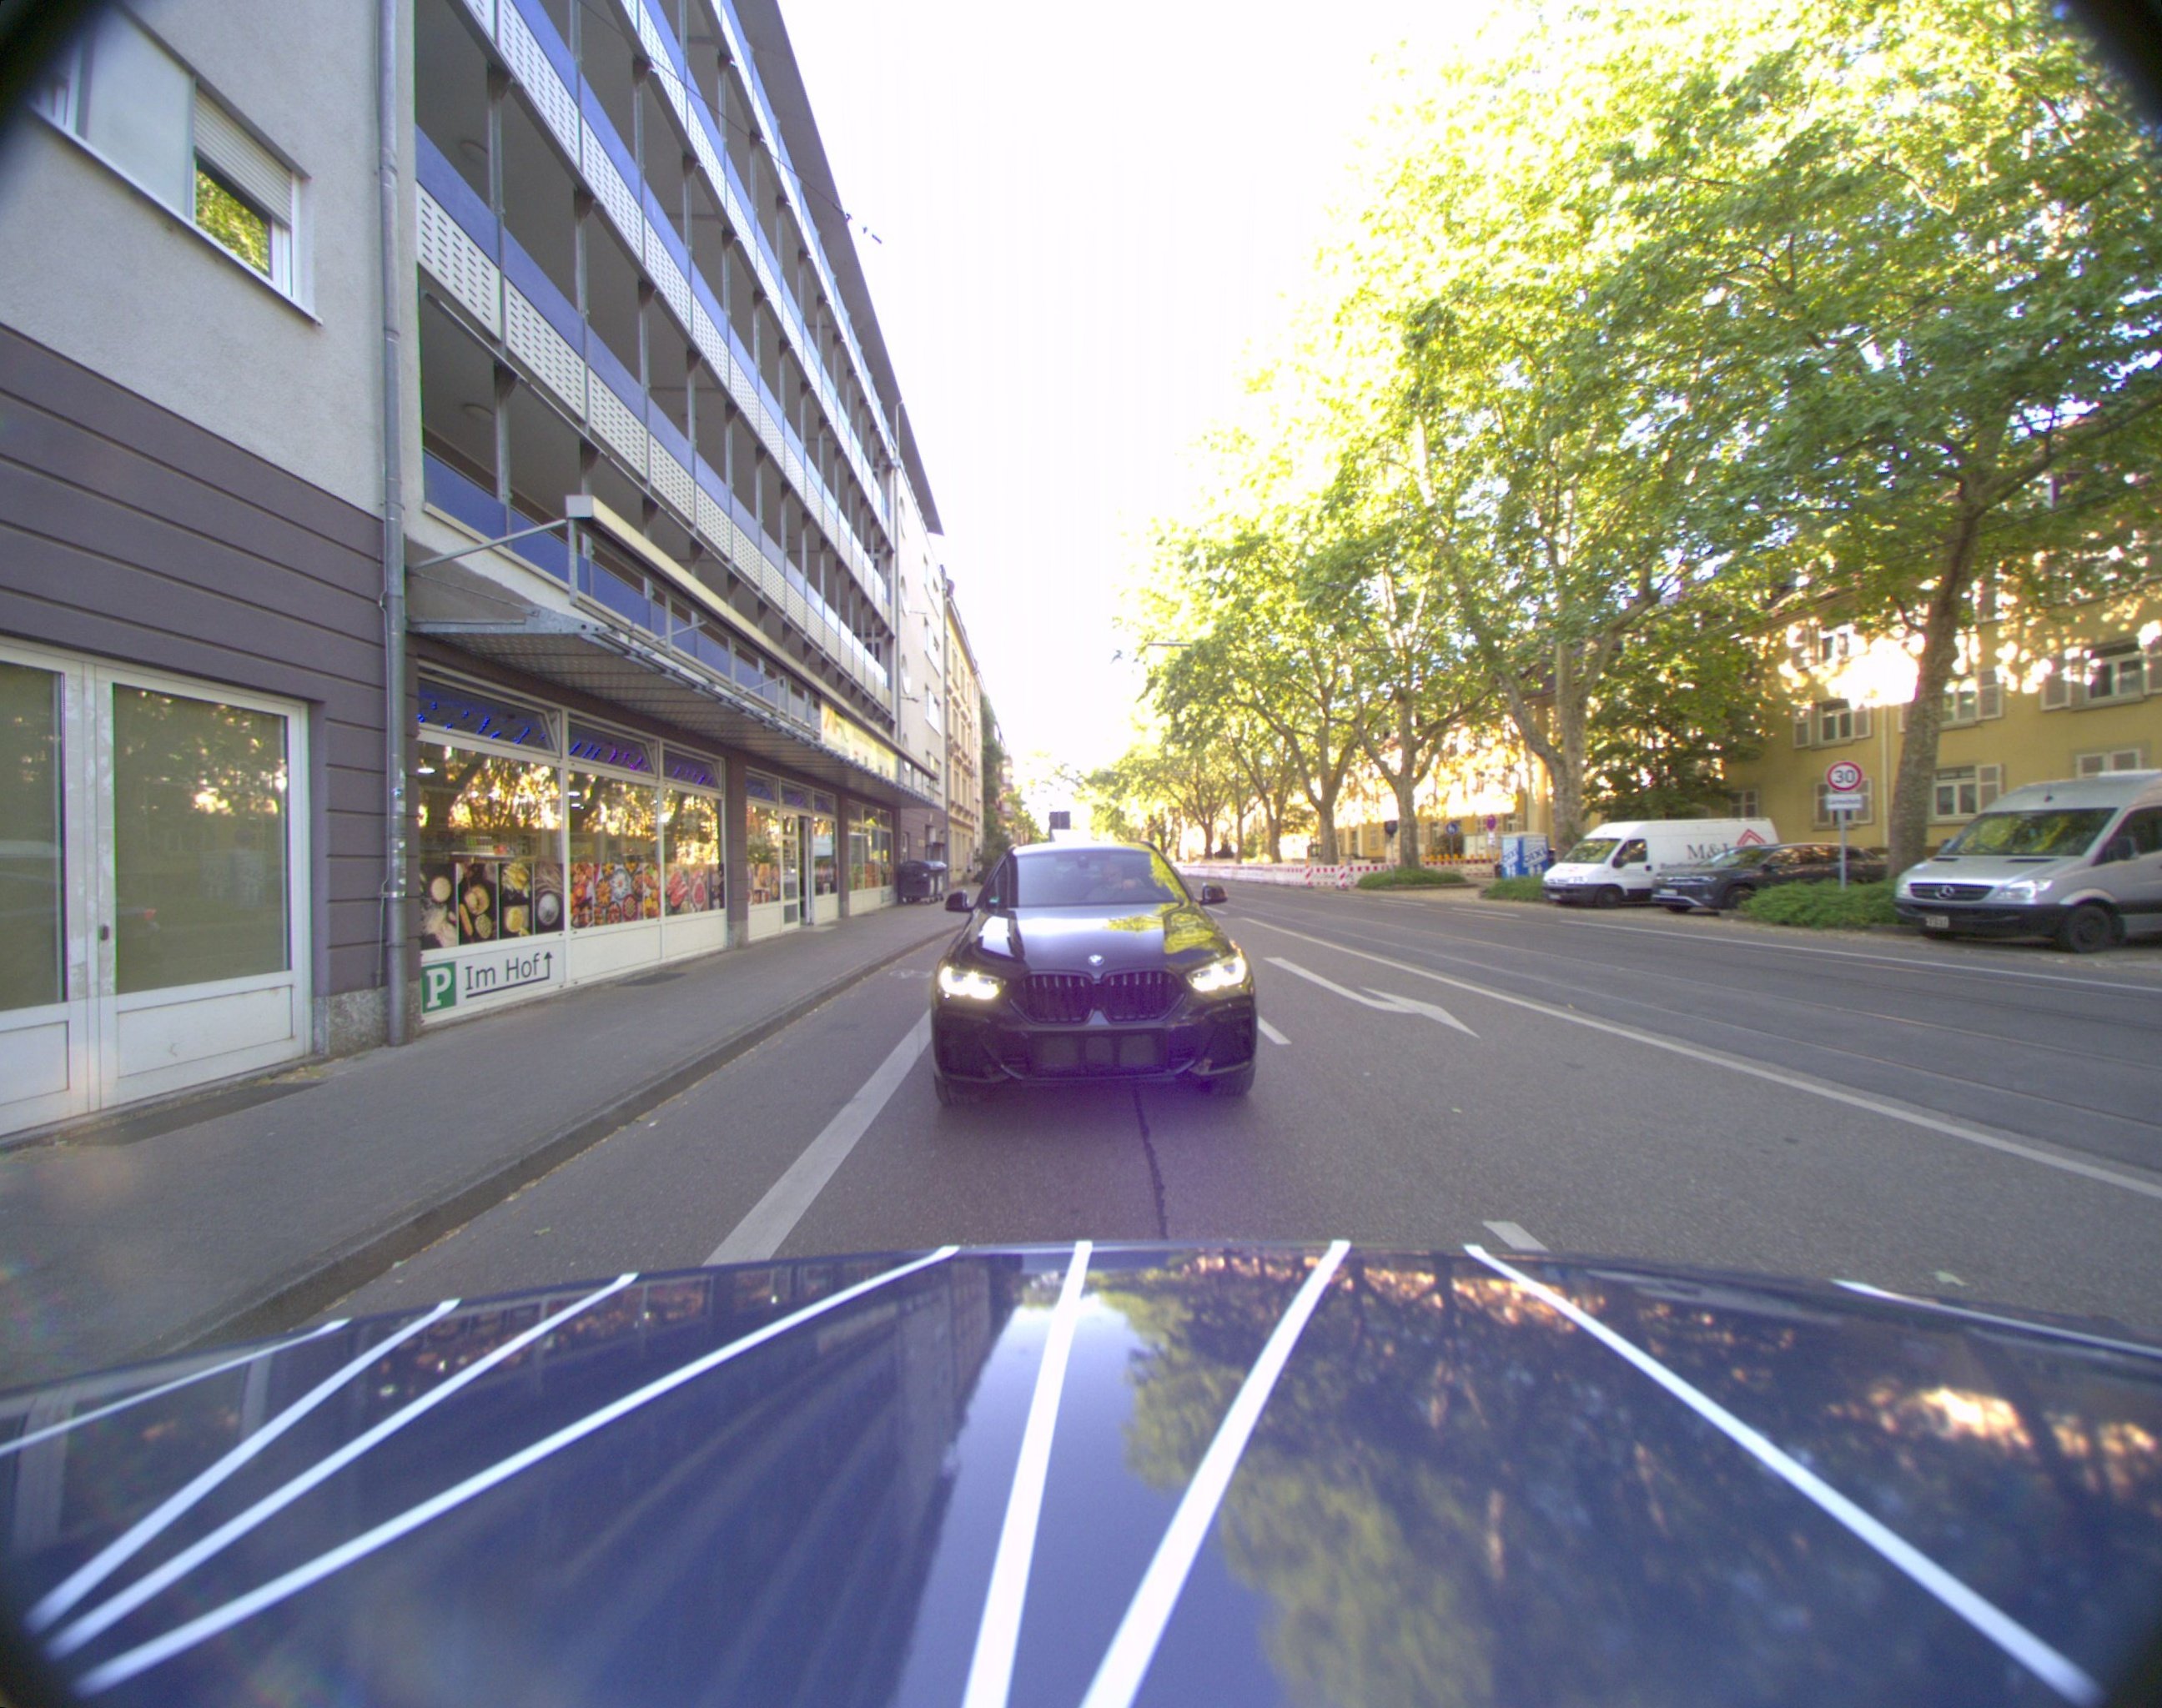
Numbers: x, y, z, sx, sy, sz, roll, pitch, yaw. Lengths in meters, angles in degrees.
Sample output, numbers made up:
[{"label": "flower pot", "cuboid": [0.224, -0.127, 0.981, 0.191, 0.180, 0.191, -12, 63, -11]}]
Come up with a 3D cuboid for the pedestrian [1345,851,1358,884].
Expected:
[{"label": "pedestrian", "cuboid": [14.270, 0.719, 40.147, 0.582, 1.735, 0.653, -2, 1, 18]}]

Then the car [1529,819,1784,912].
[{"label": "car", "cuboid": [15.843, 0.296, 21.147, 5.404, 2.362, 2.223, -1, 0, 0]}]

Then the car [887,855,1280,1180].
[{"label": "car", "cuboid": [0.042, 0.851, 6.056, 1.998, 1.643, 4.295, -1, 0, 1]}]

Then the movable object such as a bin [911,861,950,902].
[{"label": "movable object such as a bin", "cuboid": [-5.284, 0.957, 26.684, 1.158, 1.418, 0.939, -1, 0, 1]}]

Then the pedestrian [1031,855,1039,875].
[{"label": "pedestrian", "cuboid": [-4.422, 1.031, 73.292, 0.733, 1.875, 0.664, -2, 1, -1]}]

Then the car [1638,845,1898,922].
[{"label": "car", "cuboid": [16.077, 0.664, 17.940, 4.627, 1.642, 1.774, -1, 0, -2]}]

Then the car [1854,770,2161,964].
[{"label": "car", "cuboid": [15.984, 0.134, 11.858, 5.666, 2.666, 2.223, -2, 0, -2]}]

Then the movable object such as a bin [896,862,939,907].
[{"label": "movable object such as a bin", "cuboid": [-5.279, 0.978, 24.647, 1.158, 1.418, 0.939, -1, 0, 1]}]

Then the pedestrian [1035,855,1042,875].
[{"label": "pedestrian", "cuboid": [-3.982, 1.033, 71.635, 0.600, 1.875, 0.581, -2, 1, -1]}]

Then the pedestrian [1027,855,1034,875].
[{"label": "pedestrian", "cuboid": [-4.761, 1.064, 71.524, 0.600, 1.875, 0.581, -2, 1, -1]}]

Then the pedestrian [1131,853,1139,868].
[{"label": "pedestrian", "cuboid": [7.084, 0.886, 99.547, 0.731, 1.875, 0.743, -2, 1, 28]}]

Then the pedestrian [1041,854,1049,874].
[{"label": "pedestrian", "cuboid": [-3.490, 0.988, 73.263, 0.733, 1.875, 0.664, -2, 1, -1]}]

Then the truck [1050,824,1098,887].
[{"label": "truck", "cuboid": [-0.317, 0.127, 42.145, 2.394, 3.170, 6.587, -1, 0, 1]}]
